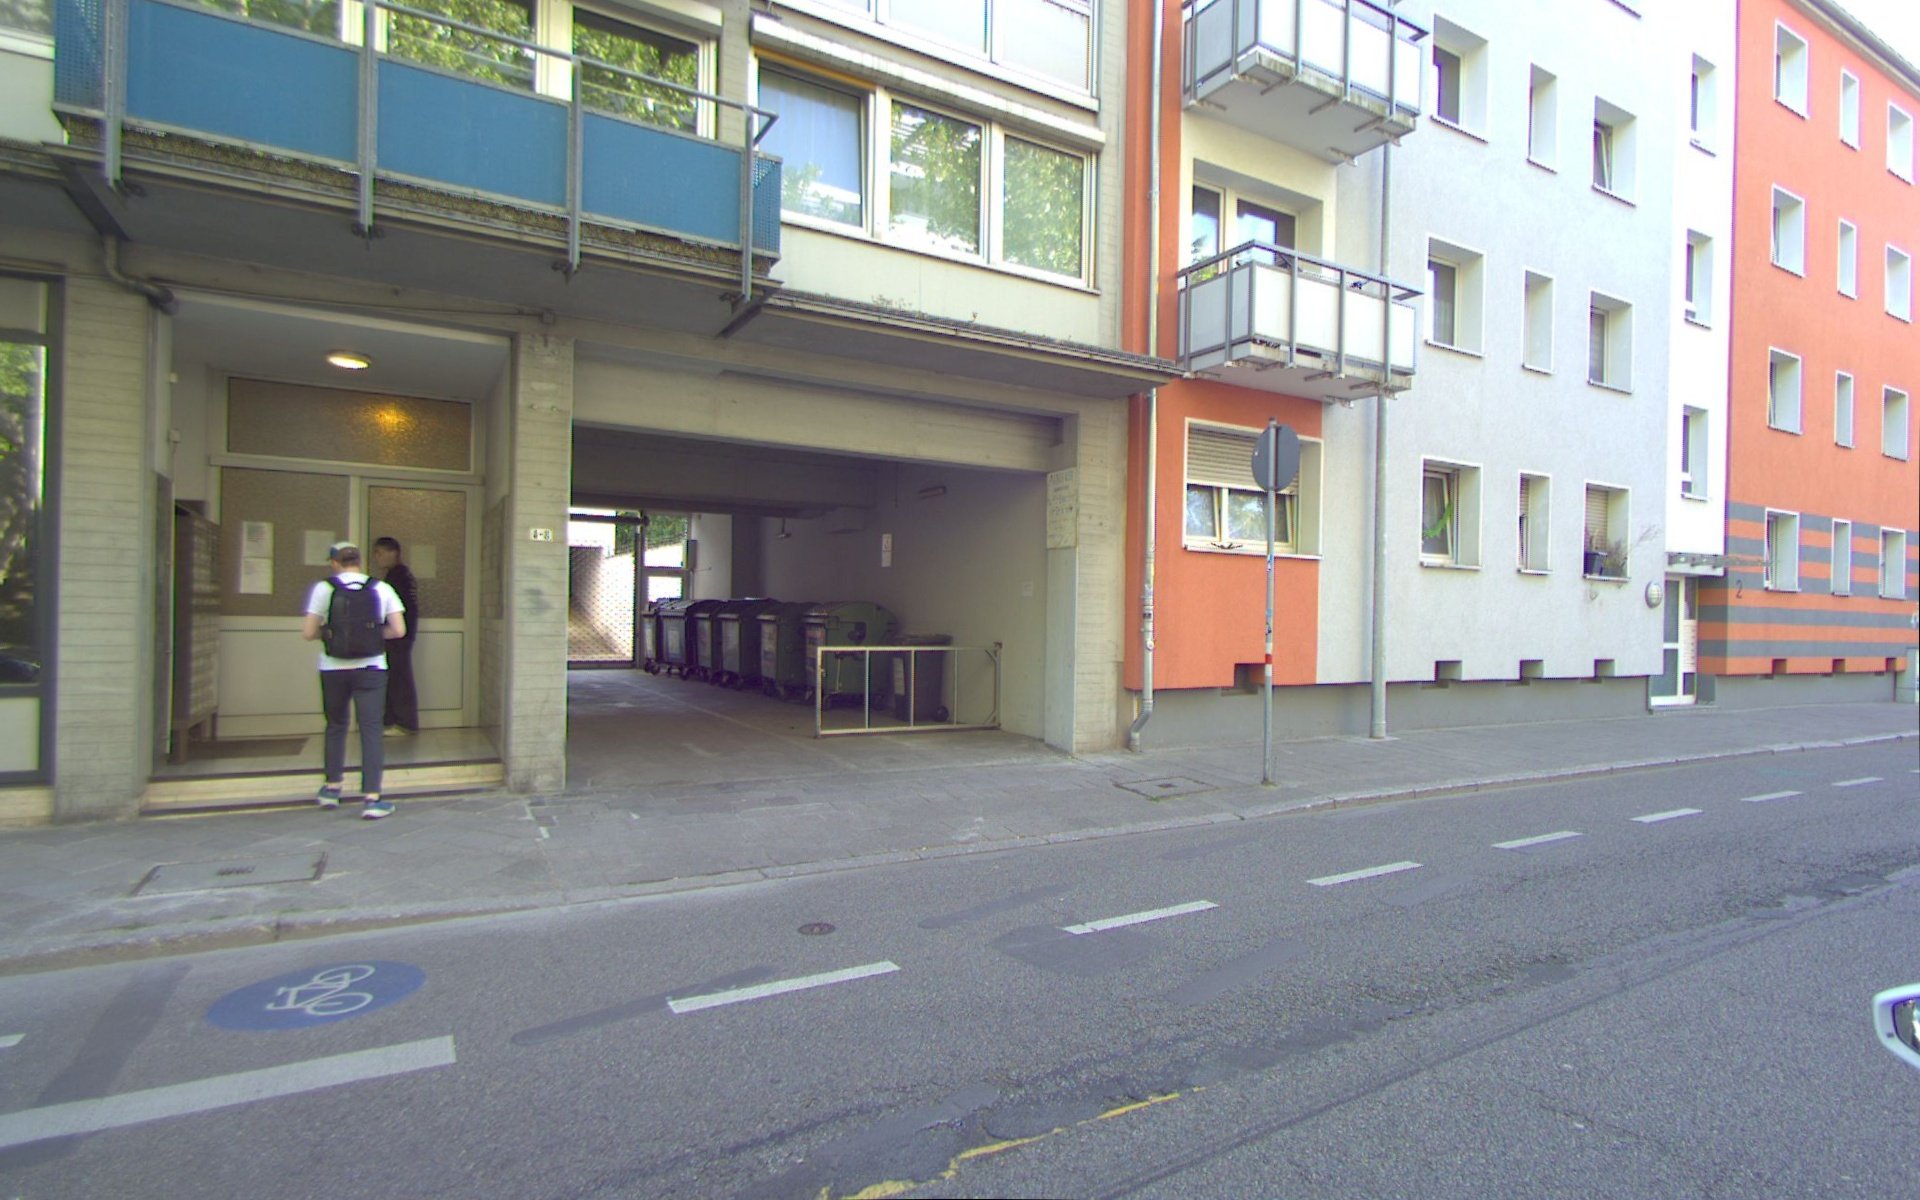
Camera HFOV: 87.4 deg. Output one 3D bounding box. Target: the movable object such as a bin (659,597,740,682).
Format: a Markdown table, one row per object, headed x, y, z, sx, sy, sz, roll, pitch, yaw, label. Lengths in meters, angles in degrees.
| x | y | z | sx | sy | sz | roll | pitch | yaw | label |
| --- | --- | --- | --- | --- | --- | --- | --- | --- | --- |
| -4.863 | 0.713 | 18.703 | 1.167 | 1.503 | 1.215 | 1 | 0 | -30 | movable object such as a bin |

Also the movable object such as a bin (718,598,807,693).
| x | y | z | sx | sy | sz | roll | pitch | yaw | label |
| --- | --- | --- | --- | --- | --- | --- | --- | --- | --- |
| -3.282 | 0.728 | 16.650 | 1.167 | 1.503 | 1.073 | 1 | 0 | -30 | movable object such as a bin |

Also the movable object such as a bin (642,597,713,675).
| x | y | z | sx | sy | sz | roll | pitch | yaw | label |
| --- | --- | --- | --- | --- | --- | --- | --- | --- | --- |
| -5.624 | 0.706 | 19.984 | 1.167 | 1.503 | 0.819 | 1 | 0 | -30 | movable object such as a bin |

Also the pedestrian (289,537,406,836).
| x | y | z | sx | sy | sz | roll | pitch | yaw | label |
| --- | --- | --- | --- | --- | --- | --- | --- | --- | --- |
| -4.023 | 0.521 | 6.641 | 0.594 | 1.824 | 0.872 | 1 | 1 | -30 | pedestrian |

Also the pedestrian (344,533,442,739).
| x | y | z | sx | sy | sz | roll | pitch | yaw | label |
| --- | --- | --- | --- | --- | --- | --- | --- | --- | --- |
| -4.977 | 0.314 | 8.849 | 0.538 | 1.736 | 0.660 | 1 | 0 | -10 | pedestrian |

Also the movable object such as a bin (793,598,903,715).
| x | y | z | sx | sy | sz | roll | pitch | yaw | label |
| --- | --- | --- | --- | --- | --- | --- | --- | --- | --- |
| -1.552 | 0.743 | 13.770 | 1.086 | 1.503 | 1.251 | 1 | 0 | -30 | movable object such as a bin |

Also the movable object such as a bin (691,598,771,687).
| x | y | z | sx | sy | sz | roll | pitch | yaw | label |
| --- | --- | --- | --- | --- | --- | --- | --- | --- | --- |
| -4.028 | 0.724 | 17.629 | 1.080 | 1.503 | 1.159 | 1 | 0 | -30 | movable object such as a bin |

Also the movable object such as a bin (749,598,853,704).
| x | y | z | sx | sy | sz | roll | pitch | yaw | label |
| --- | --- | --- | --- | --- | --- | --- | --- | --- | --- |
| -2.406 | 0.734 | 15.152 | 1.167 | 1.503 | 1.252 | 1 | 0 | -30 | movable object such as a bin |

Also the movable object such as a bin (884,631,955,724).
| x | y | z | sx | sy | sz | roll | pitch | yaw | label |
| --- | --- | --- | --- | --- | --- | --- | --- | --- | --- |
| -0.507 | 0.944 | 12.453 | 0.687 | 1.094 | 0.579 | 1 | 0 | -30 | movable object such as a bin |
